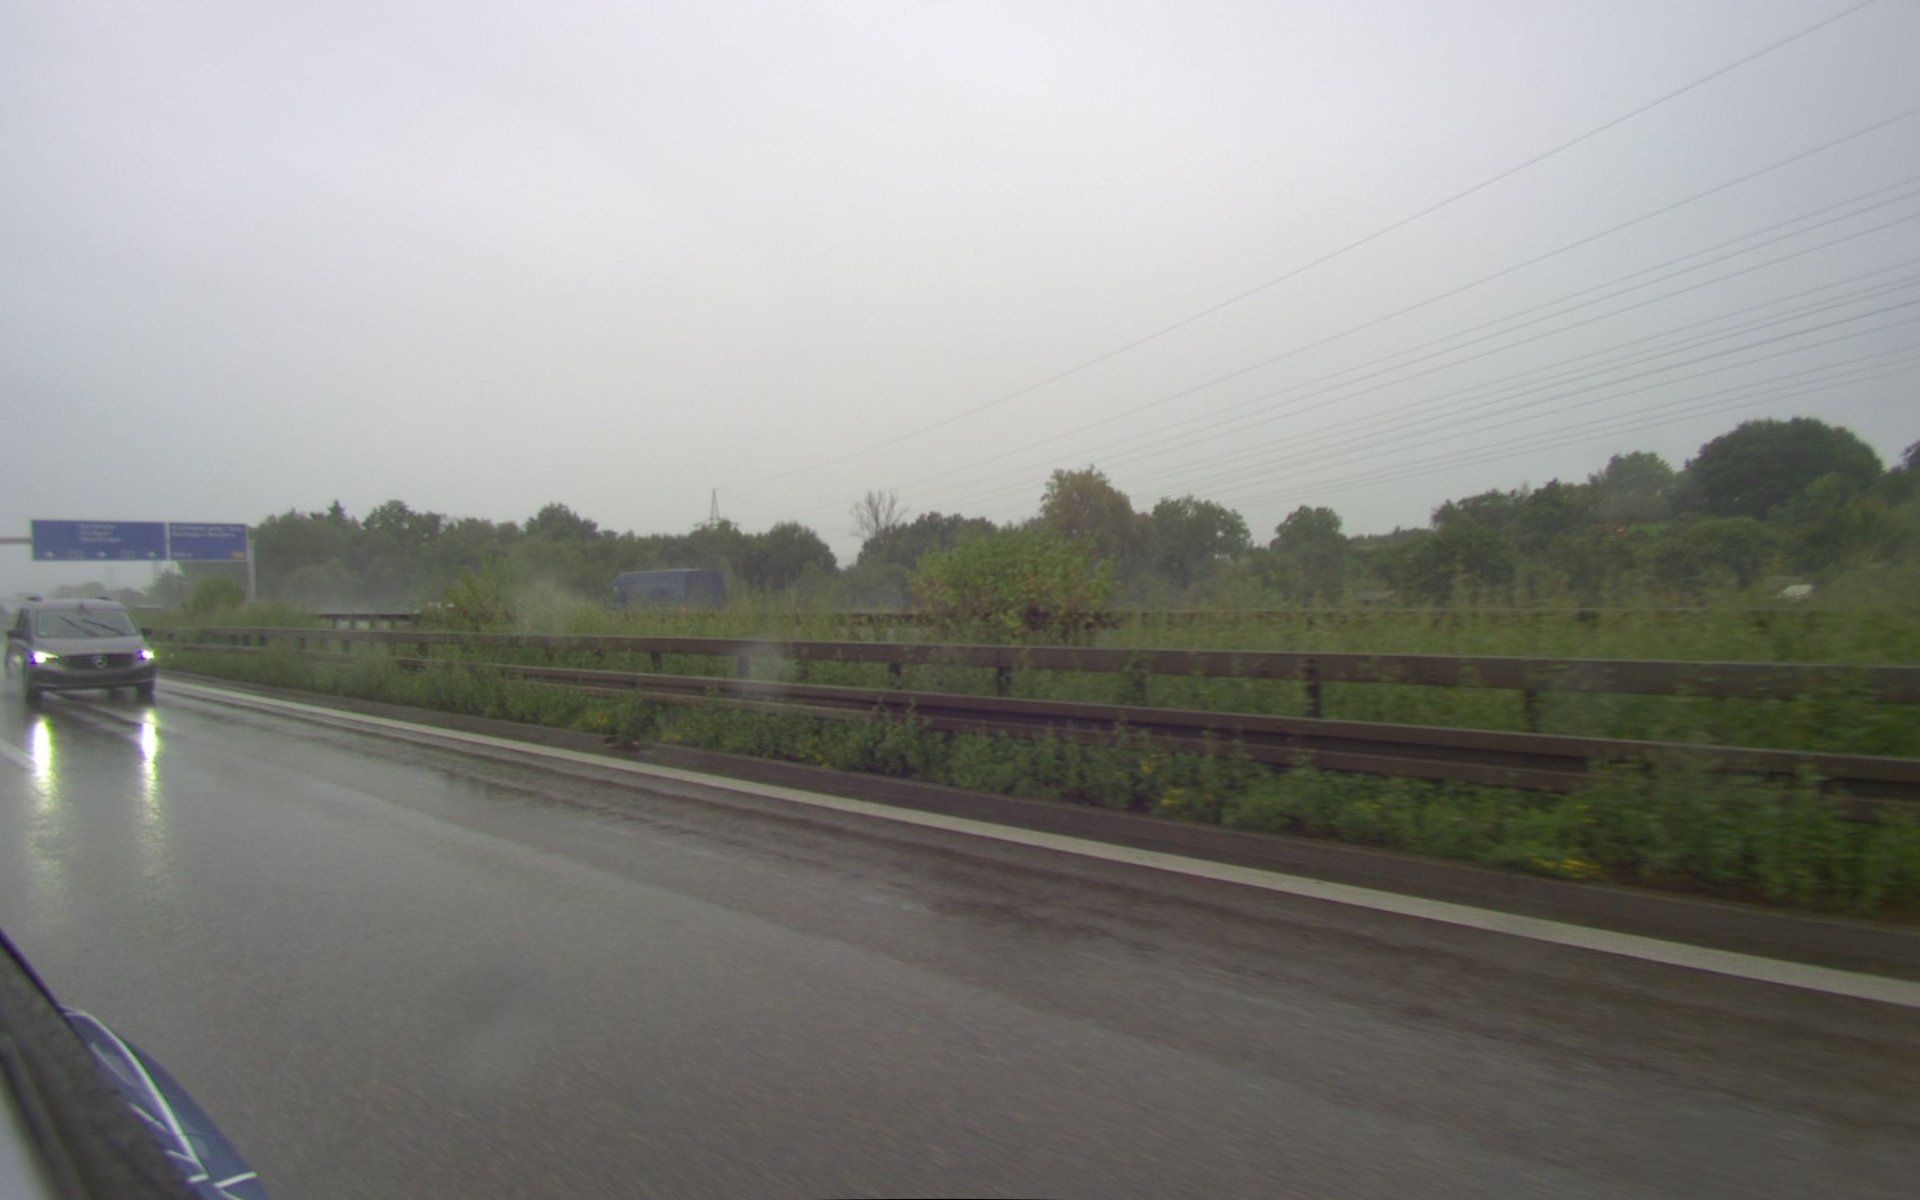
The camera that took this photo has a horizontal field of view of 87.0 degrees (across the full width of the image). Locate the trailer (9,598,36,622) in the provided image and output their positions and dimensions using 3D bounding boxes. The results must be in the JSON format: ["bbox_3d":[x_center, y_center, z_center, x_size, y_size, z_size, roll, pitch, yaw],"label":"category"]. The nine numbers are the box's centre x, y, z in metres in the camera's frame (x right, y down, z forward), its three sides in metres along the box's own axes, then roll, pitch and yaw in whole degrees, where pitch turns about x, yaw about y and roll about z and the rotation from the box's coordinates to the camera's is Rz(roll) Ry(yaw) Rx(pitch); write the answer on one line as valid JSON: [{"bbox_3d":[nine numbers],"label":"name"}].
[{"bbox_3d":[-158.655,1.748,171.210,13.932,3.749,2.307,-1,3,44],"label":"trailer"}]

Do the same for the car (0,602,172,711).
[{"bbox_3d":[-16.488,0.958,18.817,4.496,1.787,2.021,-1,-1,40],"label":"car"}]

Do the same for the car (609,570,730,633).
[{"bbox_3d":[-10.470,0.075,36.327,4.834,2.028,1.801,-2,2,42],"label":"car"}]
